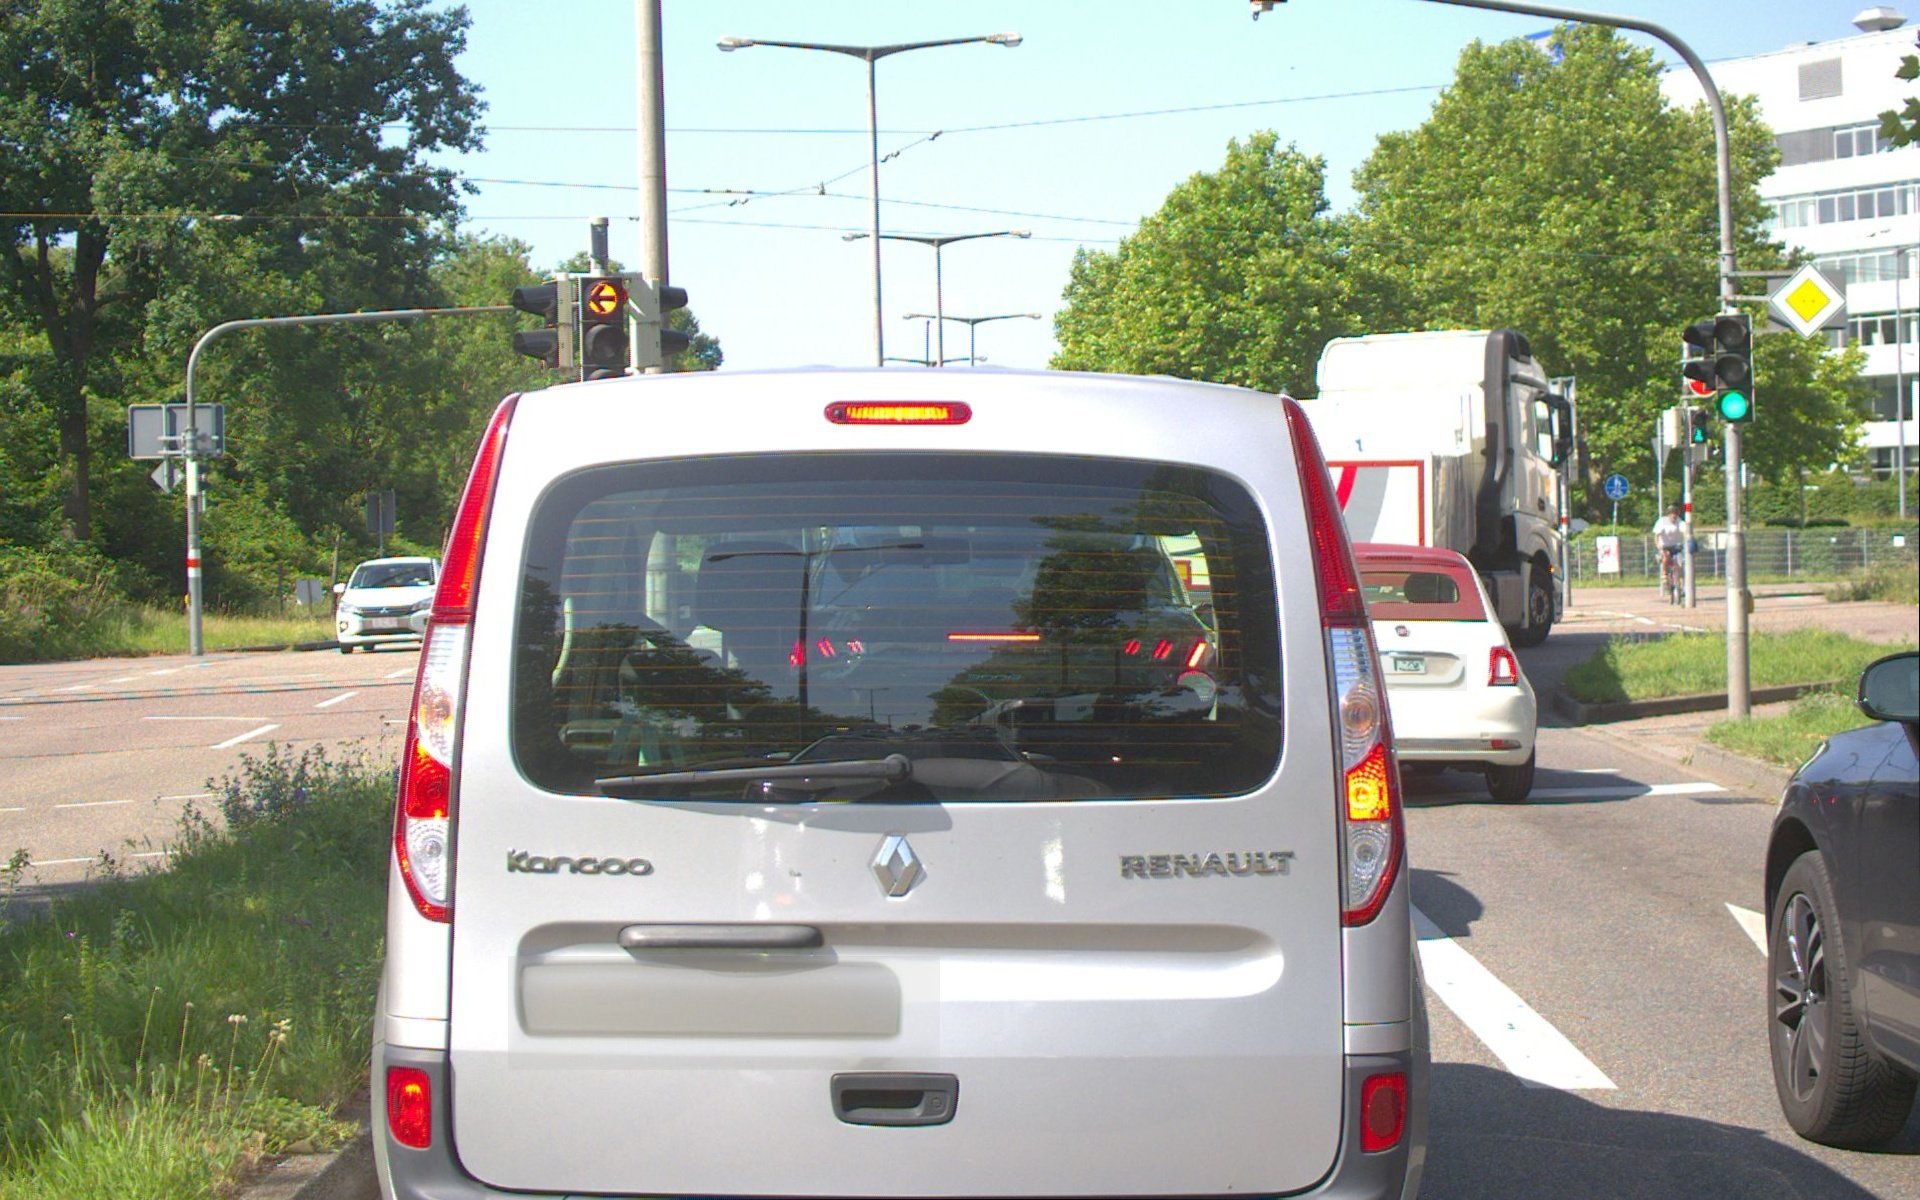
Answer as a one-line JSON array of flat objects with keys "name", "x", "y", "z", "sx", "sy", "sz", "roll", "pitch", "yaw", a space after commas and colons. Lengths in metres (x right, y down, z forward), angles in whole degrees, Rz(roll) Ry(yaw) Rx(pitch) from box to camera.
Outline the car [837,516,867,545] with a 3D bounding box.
[{"name": "car", "x": -7.879, "y": -5.059, "z": 250.586, "sx": 1.888, "sy": 2.007, "sz": 4.000, "roll": 1, "pitch": 1, "yaw": 2}]

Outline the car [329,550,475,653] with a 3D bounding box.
[{"name": "car", "x": -8.884, "y": 0.001, "z": 55.004, "sx": 1.699, "sy": 1.503, "sz": 4.000, "roll": -1, "pitch": 2, "yaw": -1}]

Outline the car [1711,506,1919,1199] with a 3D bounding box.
[{"name": "car", "x": 2.967, "y": 0.610, "z": 6.918, "sx": 1.875, "sy": 1.586, "sz": 4.434, "roll": 1, "pitch": 1, "yaw": -1}]

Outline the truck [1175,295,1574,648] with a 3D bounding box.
[{"name": "truck", "x": 4.899, "y": -1.363, "z": 39.235, "sx": 2.913, "sy": 3.630, "sz": 7.182, "roll": 1, "pitch": 1, "yaw": 20}]

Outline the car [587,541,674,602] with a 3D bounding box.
[{"name": "car", "x": -9.287, "y": -0.800, "z": 97.117, "sx": 1.911, "sy": 1.636, "sz": 3.737, "roll": -1, "pitch": 0, "yaw": 2}]

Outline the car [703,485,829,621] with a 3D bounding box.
[{"name": "car", "x": -3.880, "y": -0.937, "z": 69.585, "sx": 1.994, "sy": 2.598, "sz": 5.133, "roll": -1, "pitch": 0, "yaw": 2}]

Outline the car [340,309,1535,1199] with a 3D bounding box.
[{"name": "car", "x": -0.060, "y": 0.470, "z": 7.196, "sx": 1.786, "sy": 1.831, "sz": 4.000, "roll": 1, "pitch": 1, "yaw": -1}]

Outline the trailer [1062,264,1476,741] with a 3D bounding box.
[{"name": "trailer", "x": 3.286, "y": -0.807, "z": 32.515, "sx": 2.901, "sy": 3.610, "sz": 12.681, "roll": 1, "pitch": 1, "yaw": 9}]

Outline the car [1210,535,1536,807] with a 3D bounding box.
[{"name": "car", "x": 2.443, "y": 0.381, "z": 20.980, "sx": 1.538, "sy": 1.509, "sz": 3.260, "roll": 1, "pitch": 1, "yaw": -1}]
